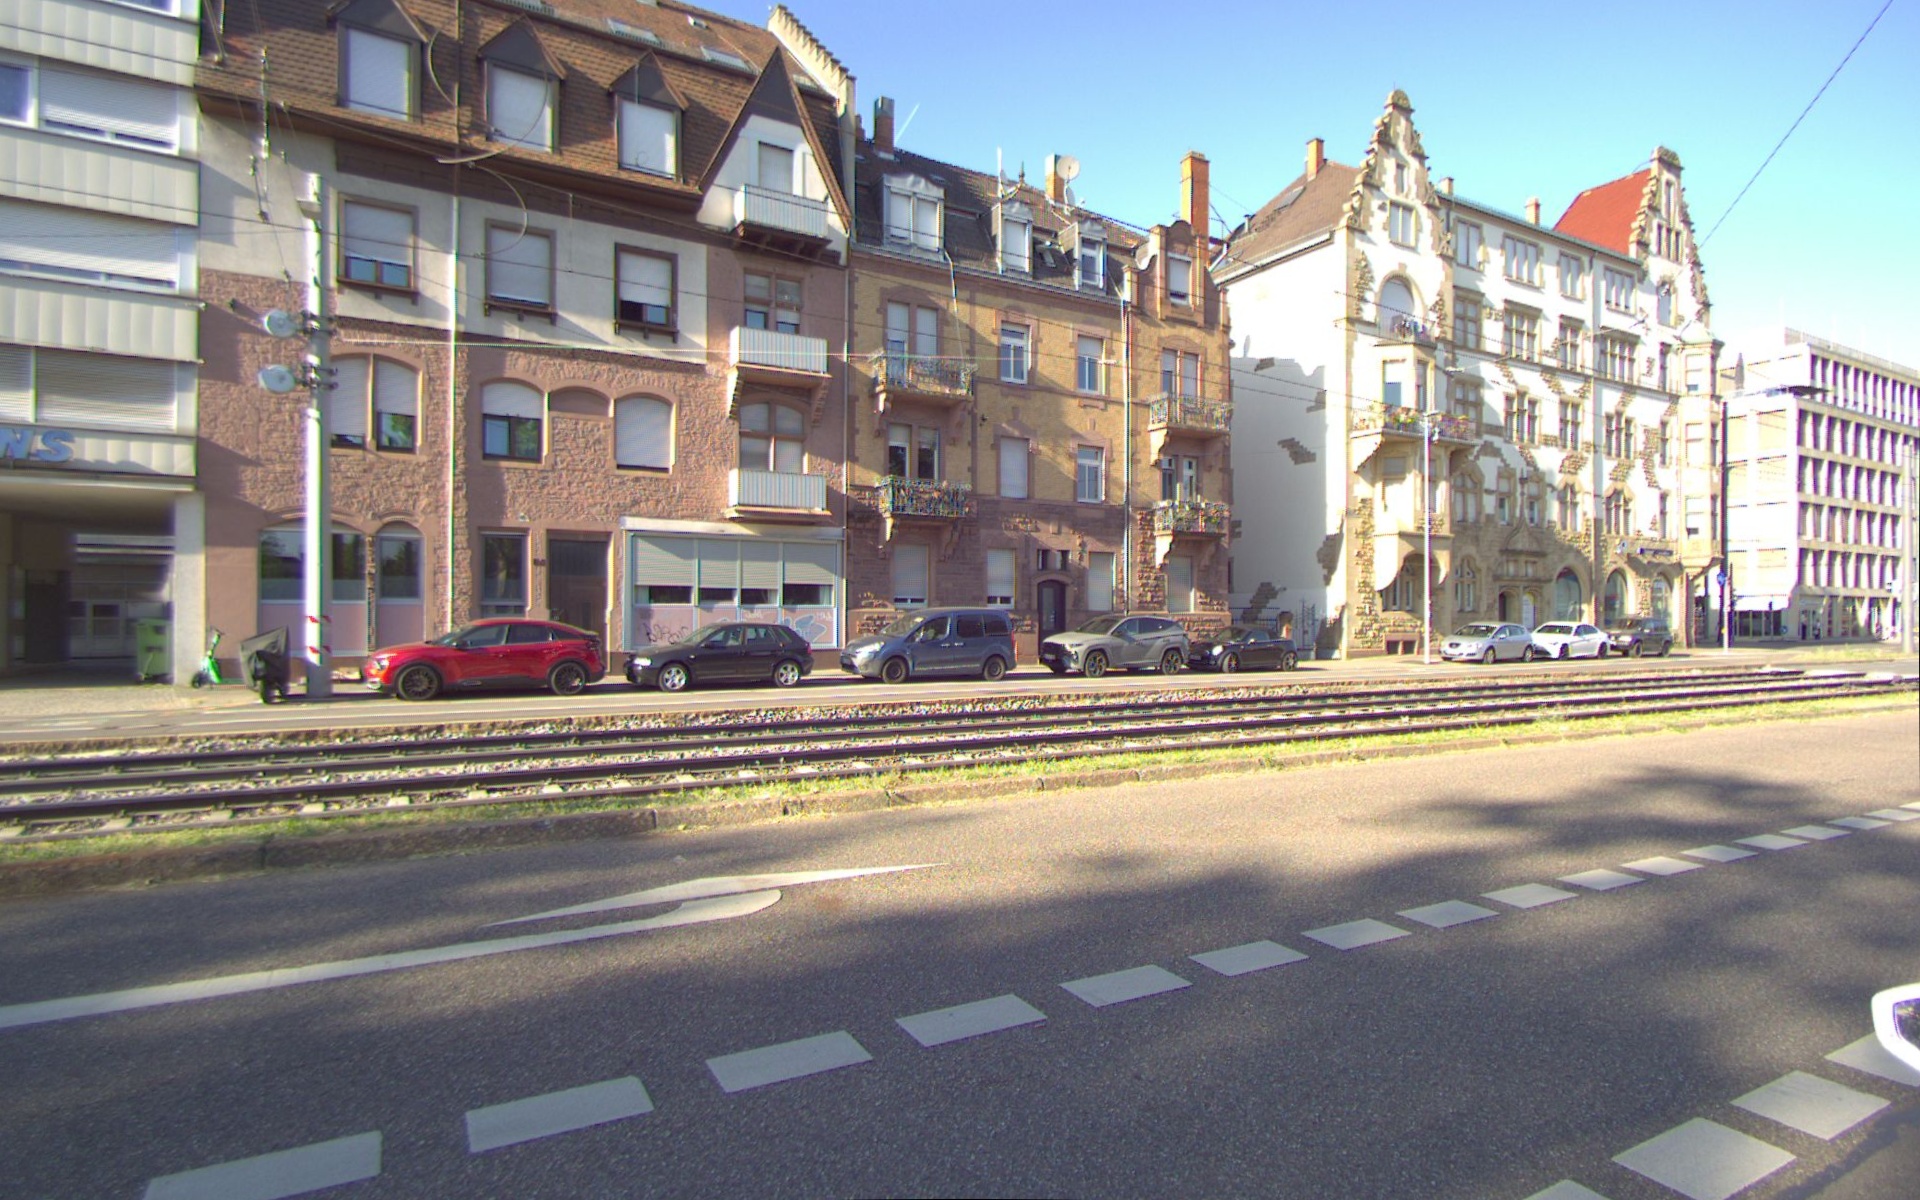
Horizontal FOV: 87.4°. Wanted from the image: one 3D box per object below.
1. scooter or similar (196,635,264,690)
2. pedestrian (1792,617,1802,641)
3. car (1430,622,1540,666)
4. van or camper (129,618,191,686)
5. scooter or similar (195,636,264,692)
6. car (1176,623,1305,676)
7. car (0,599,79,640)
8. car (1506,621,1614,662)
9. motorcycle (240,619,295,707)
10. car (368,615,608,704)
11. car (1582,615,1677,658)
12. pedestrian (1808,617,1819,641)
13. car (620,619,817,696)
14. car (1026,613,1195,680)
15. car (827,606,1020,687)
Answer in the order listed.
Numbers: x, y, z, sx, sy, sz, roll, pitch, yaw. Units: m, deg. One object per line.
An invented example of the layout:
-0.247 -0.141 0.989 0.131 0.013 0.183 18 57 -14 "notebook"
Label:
-14.830 1.262 20.426 1.108 1.083 0.203 0 1 -30 "scooter or similar"
65.636 2.308 78.787 0.464 1.868 0.443 -1 -1 23 "pedestrian"
19.120 1.556 36.557 4.177 1.450 1.699 0 1 -33 "car"
-16.948 1.083 21.306 0.794 1.375 1.418 0 -1 -30 "van or camper"
-14.691 1.272 20.224 1.108 1.083 0.203 0 1 -30 "scooter or similar"
8.420 1.440 30.067 3.683 1.373 1.614 1 2 -31 "car"
-54.314 1.082 56.662 6.524 2.288 2.343 1 -1 -31 "car"
23.643 1.586 39.522 4.603 1.442 1.707 1 1 -32 "car"
-12.571 1.112 18.268 0.621 1.441 1.847 0 2 -29 "motorcycle"
-9.373 1.104 20.018 4.162 1.519 1.846 1 2 -31 "car"
28.168 1.498 42.246 4.169 1.698 1.707 0 1 -32 "car"
66.444 2.274 78.207 0.522 1.868 0.443 -1 -1 23 "pedestrian"
-5.291 1.200 22.104 3.883 1.457 1.686 1 2 -31 "car"
4.183 1.228 27.707 4.451 1.645 1.846 1 2 -31 "car"
-0.880 1.083 24.700 4.362 1.782 1.878 1 2 -28 "car"
